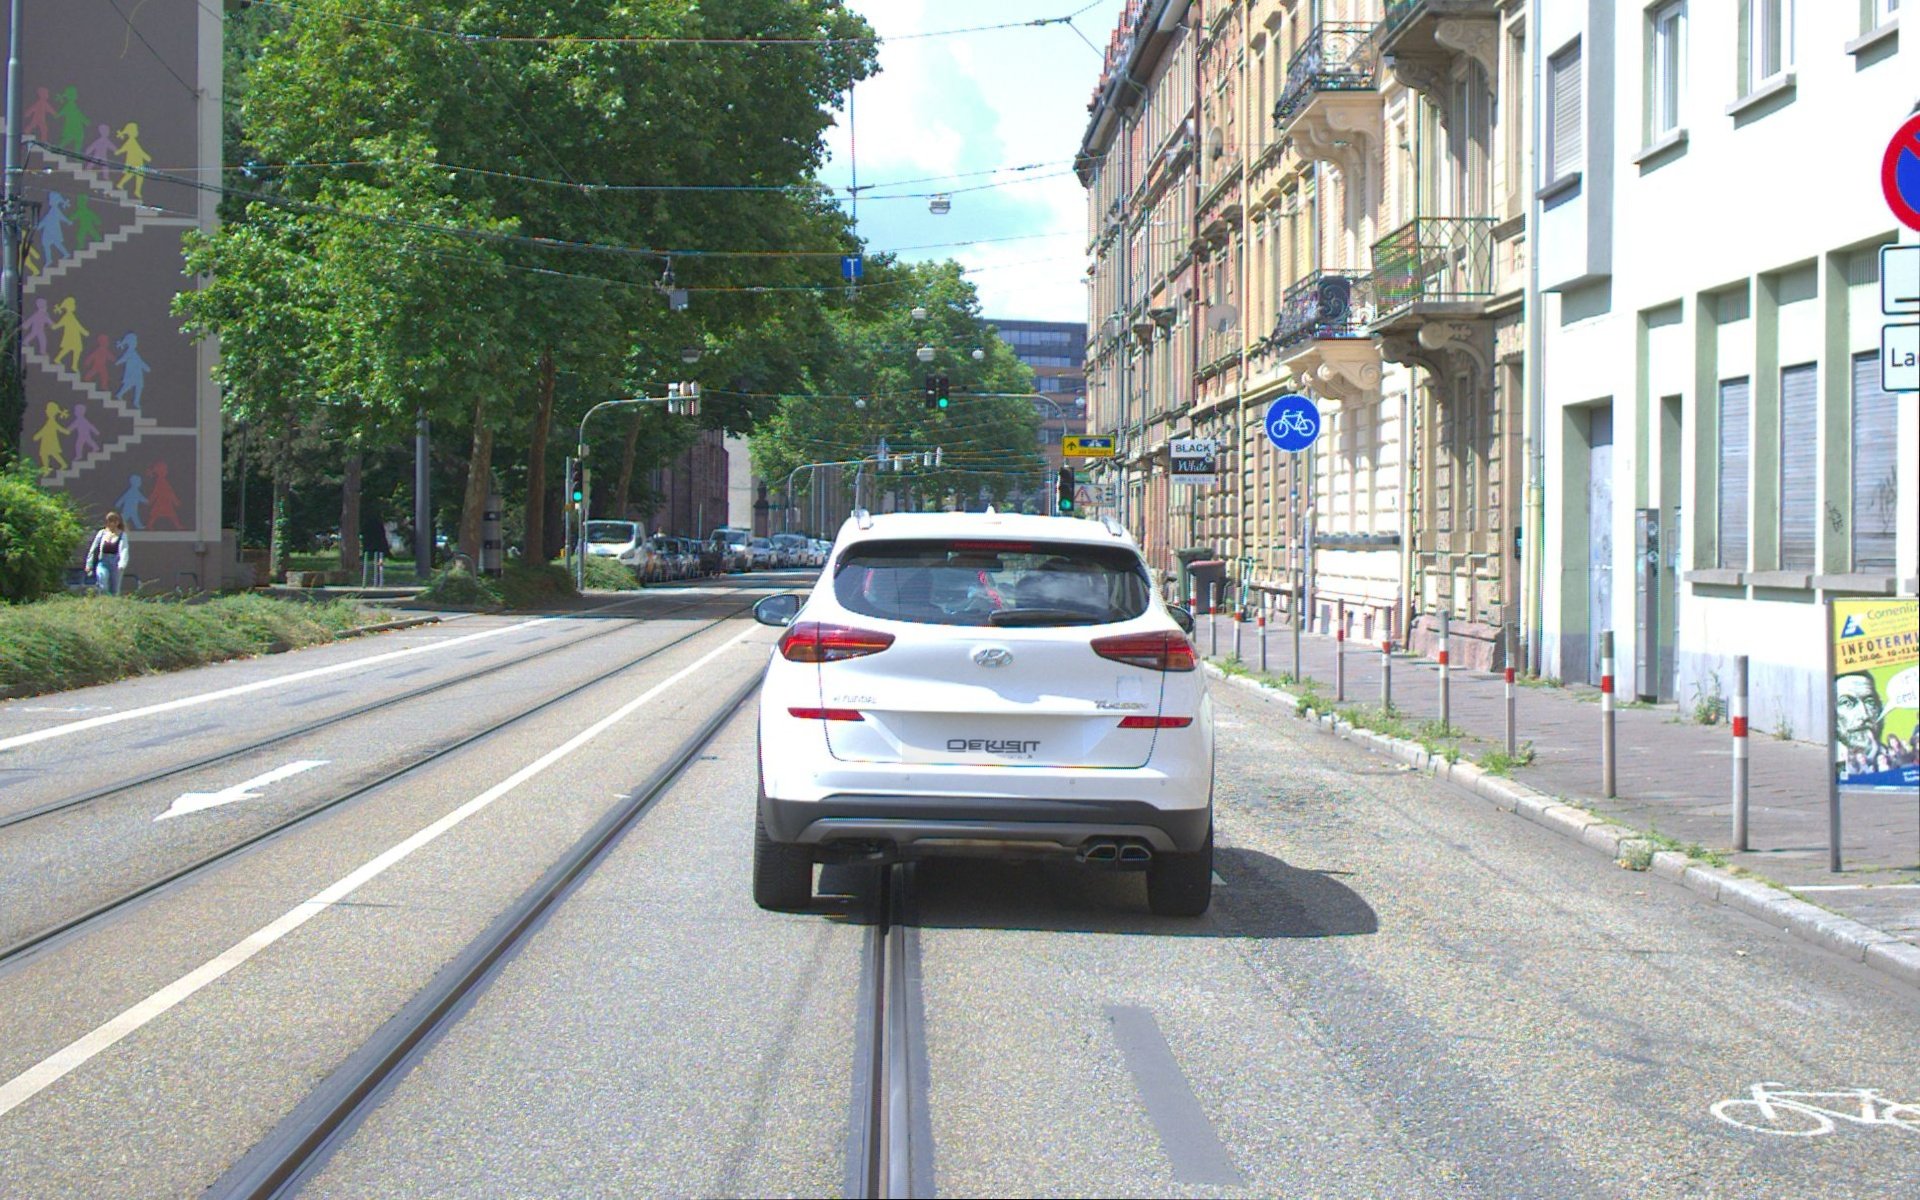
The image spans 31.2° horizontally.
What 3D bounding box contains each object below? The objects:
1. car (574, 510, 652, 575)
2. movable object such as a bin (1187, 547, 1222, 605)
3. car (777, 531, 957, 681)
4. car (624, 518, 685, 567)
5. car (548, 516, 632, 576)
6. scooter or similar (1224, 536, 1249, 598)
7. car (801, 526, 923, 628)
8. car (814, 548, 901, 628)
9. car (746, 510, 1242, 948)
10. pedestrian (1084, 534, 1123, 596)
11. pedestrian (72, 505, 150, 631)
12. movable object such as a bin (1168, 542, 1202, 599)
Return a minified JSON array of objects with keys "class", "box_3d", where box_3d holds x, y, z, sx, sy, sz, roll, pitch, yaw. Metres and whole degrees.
[{"class":"car","box_3d":[-10.491,-1.756,104.076,1.950,1.888,4.566,1,1,-1]},{"class":"movable object such as a bin","box_3d":[4.858,-0.476,68.343,0.612,1.139,0.638,1,1,-1]},{"class":"car","box_3d":[-0.941,0.022,36.878,1.814,1.519,4.085,0,1,0]},{"class":"car","box_3d":[-10.595,-2.014,119.295,1.950,1.626,4.001,1,1,-3]},{"class":"car","box_3d":[-10.534,-1.548,98.194,1.950,1.626,4.576,1,1,-1]},{"class":"scooter or similar","box_3d":[5.250,-0.635,65.278,0.395,1.160,0.486,1,1,-1]},{"class":"car","box_3d":[-1.499,-0.388,53.725,1.814,1.519,3.956,1,1,-1]},{"class":"car","box_3d":[-2.203,-0.283,74.725,1.814,1.656,4.085,1,1,-1]},{"class":"car","box_3d":[0.010,0.450,15.232,1.852,1.628,4.181,2,1,-3]},{"class":"pedestrian","box_3d":[3.717,-0.912,89.055,0.938,1.567,1.050,1,1,-1]},{"class":"pedestrian","box_3d":[-12.718,-0.487,51.520,0.880,1.859,1.081,-1,1,0]},{"class":"movable object such as a bin","box_3d":[4.572,-0.597,69.770,0.612,1.139,0.638,1,1,-1]}]
